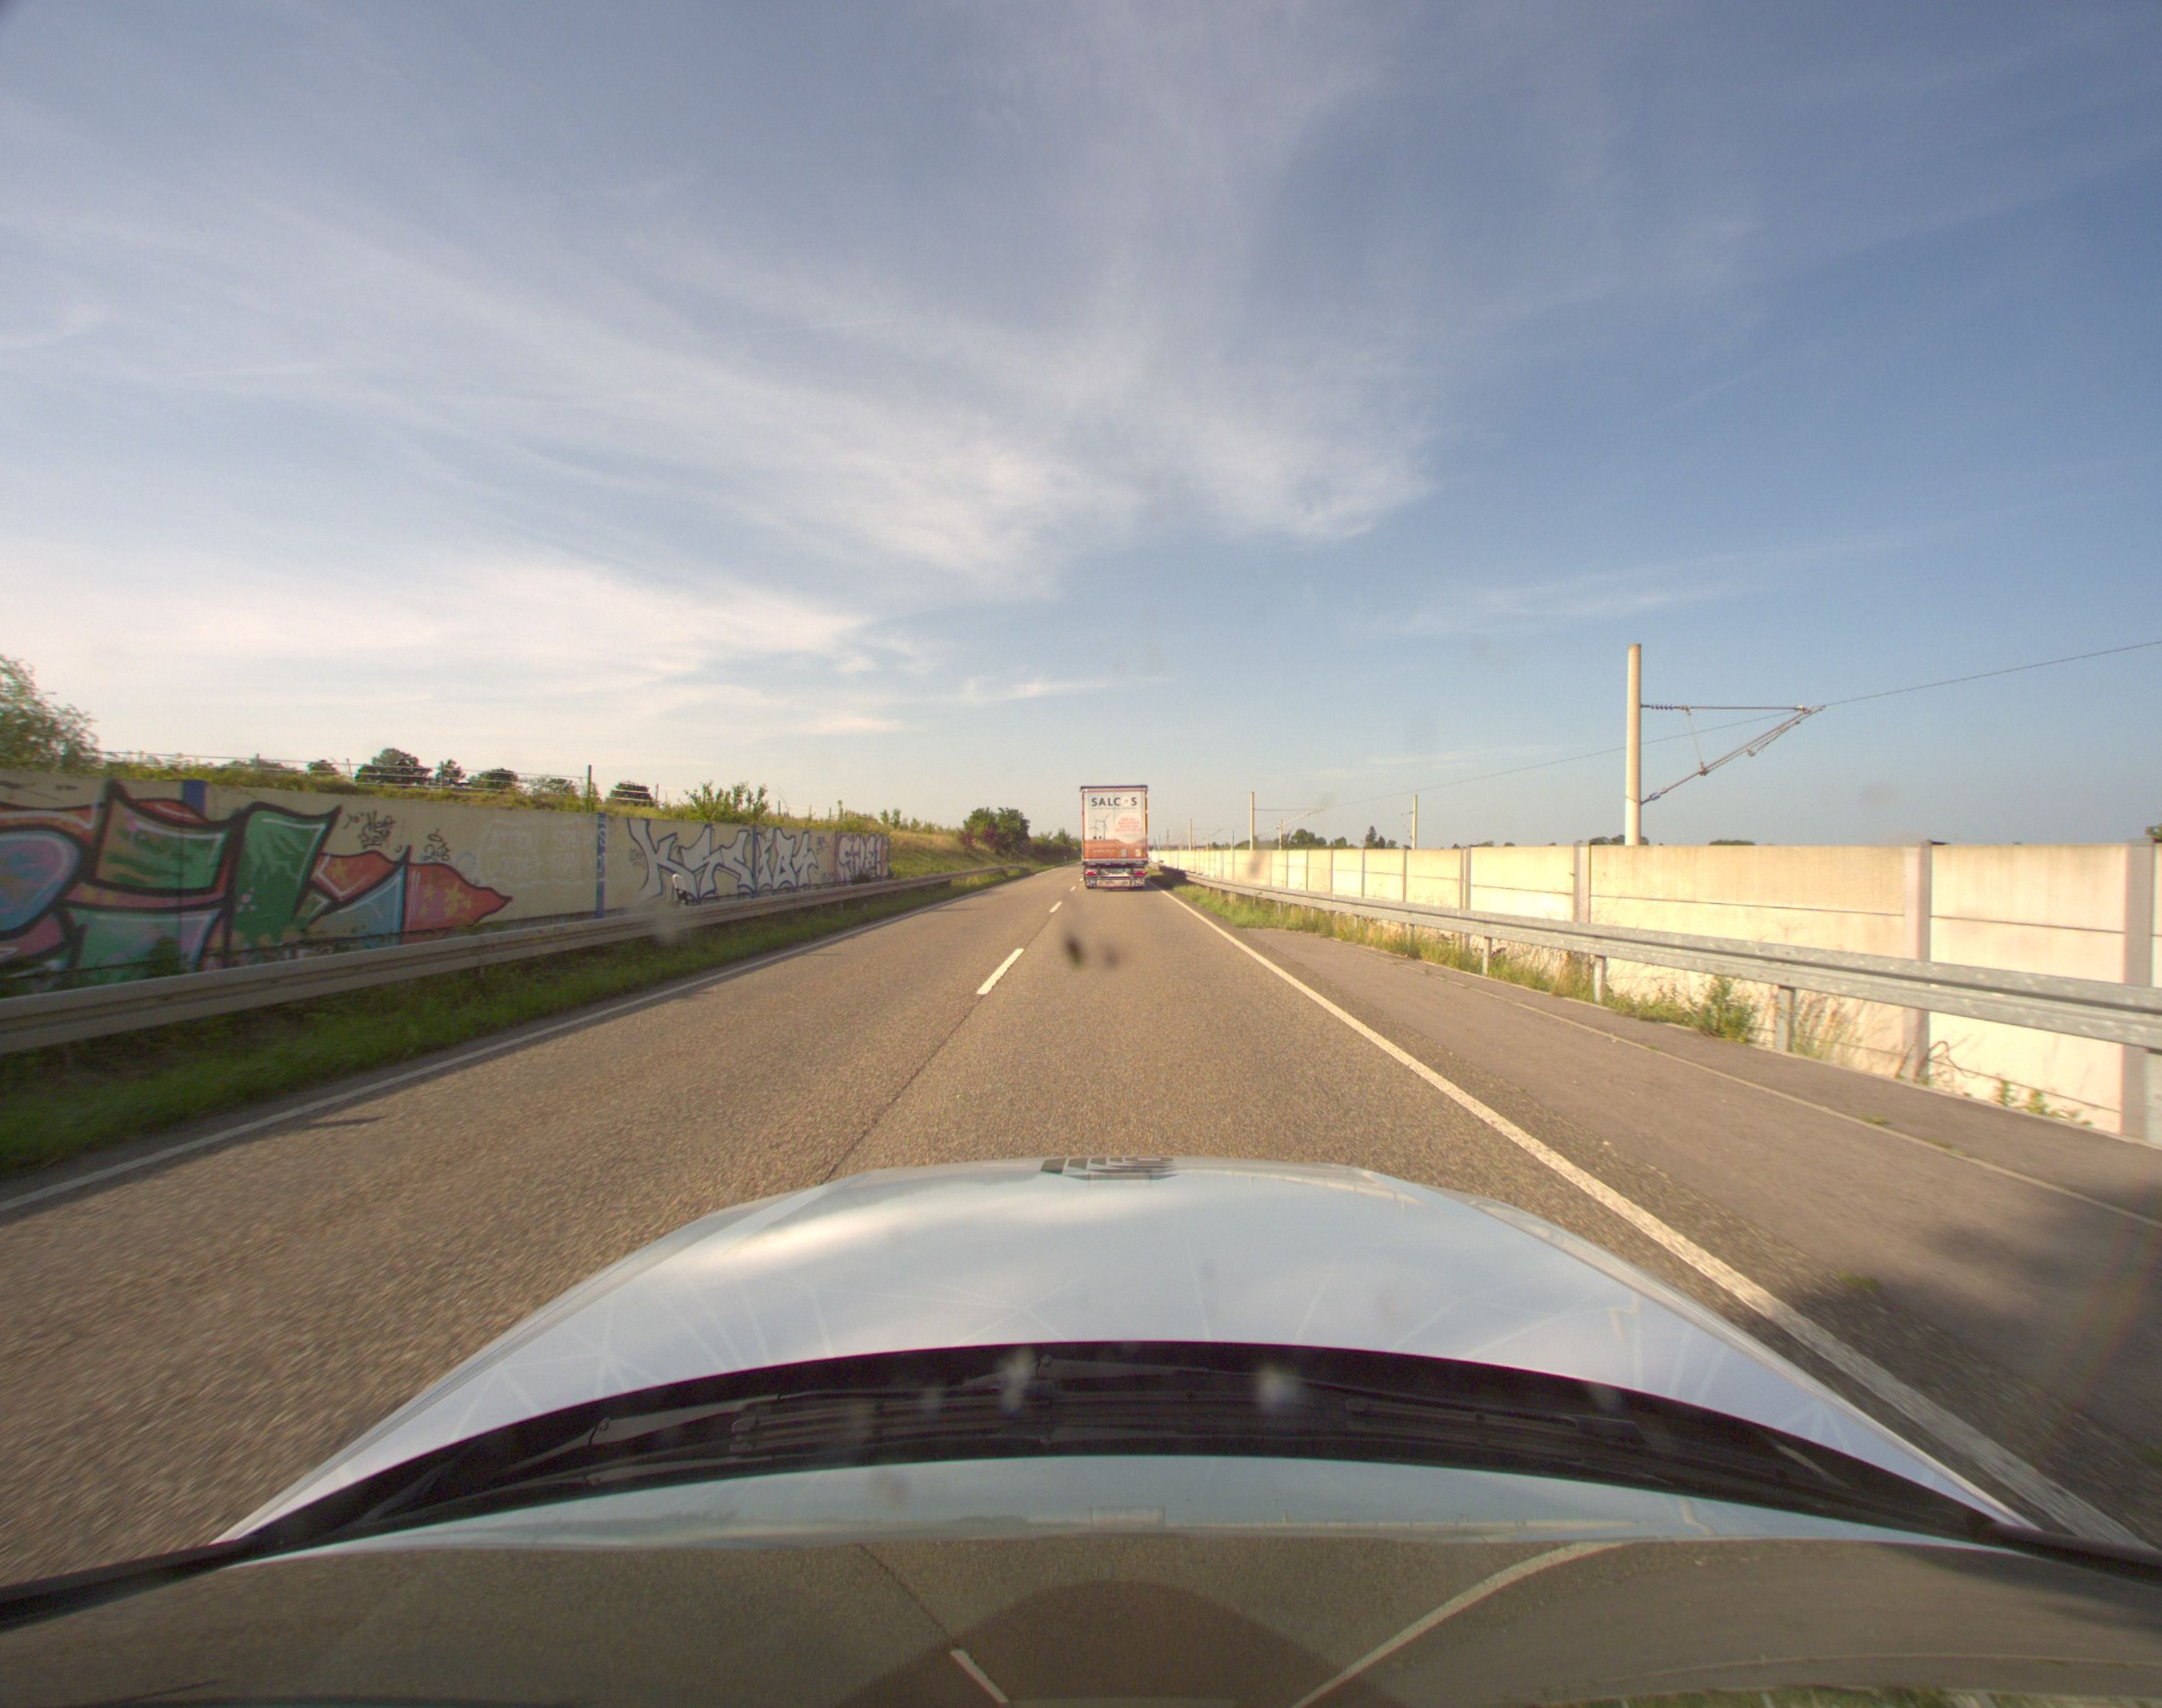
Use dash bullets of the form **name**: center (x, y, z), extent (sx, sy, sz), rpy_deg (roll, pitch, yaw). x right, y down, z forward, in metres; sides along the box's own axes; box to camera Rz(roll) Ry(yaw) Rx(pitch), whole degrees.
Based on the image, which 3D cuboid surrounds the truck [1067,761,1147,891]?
- **truck**: center (1.180, -1.116, 37.099), extent (3.021, 4.920, 11.689), rpy_deg (-1, 0, 2)
